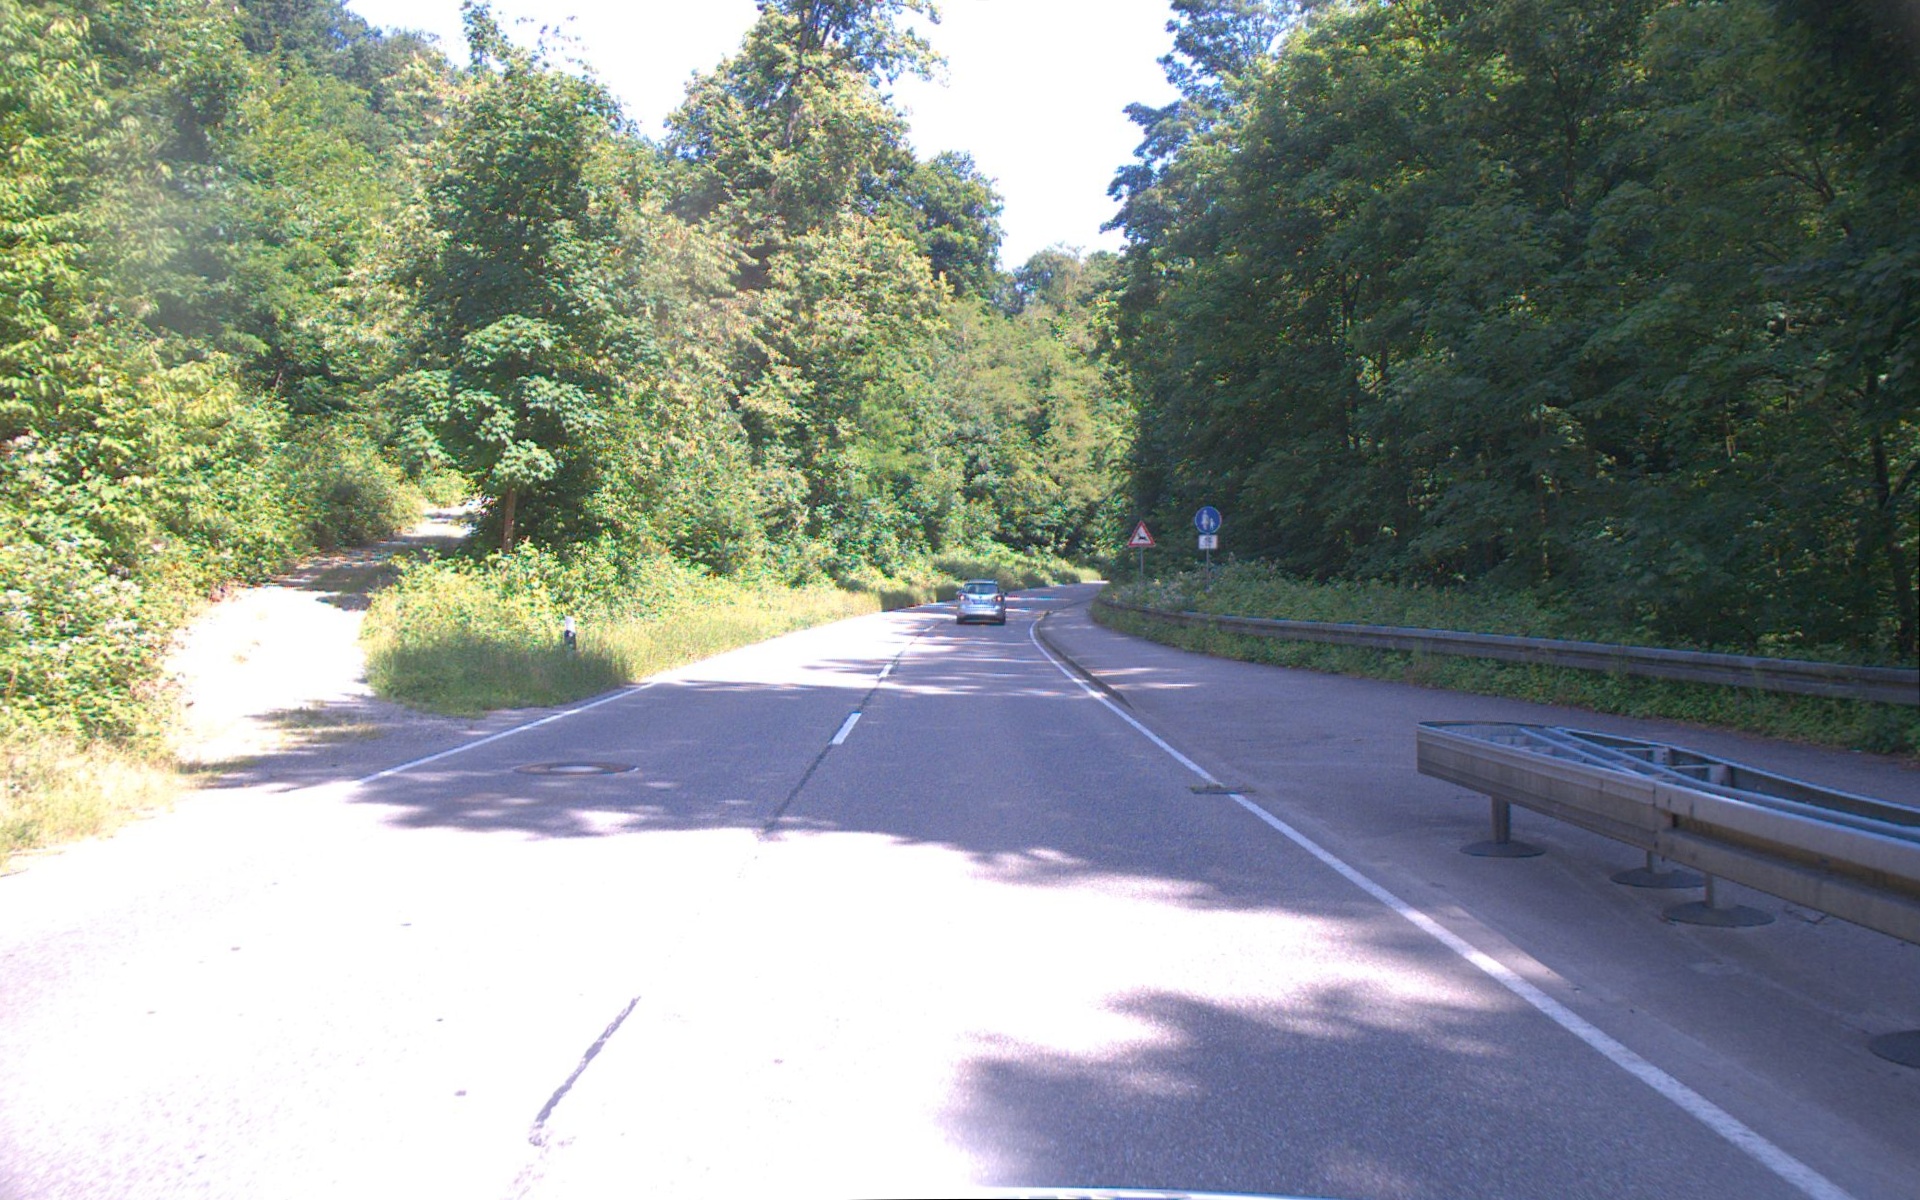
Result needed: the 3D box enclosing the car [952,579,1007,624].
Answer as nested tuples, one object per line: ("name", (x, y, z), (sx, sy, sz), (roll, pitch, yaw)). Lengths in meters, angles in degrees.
("car", (0.742, 0.023, 59.751), (1.714, 1.546, 4.161), (1, 1, 4))
